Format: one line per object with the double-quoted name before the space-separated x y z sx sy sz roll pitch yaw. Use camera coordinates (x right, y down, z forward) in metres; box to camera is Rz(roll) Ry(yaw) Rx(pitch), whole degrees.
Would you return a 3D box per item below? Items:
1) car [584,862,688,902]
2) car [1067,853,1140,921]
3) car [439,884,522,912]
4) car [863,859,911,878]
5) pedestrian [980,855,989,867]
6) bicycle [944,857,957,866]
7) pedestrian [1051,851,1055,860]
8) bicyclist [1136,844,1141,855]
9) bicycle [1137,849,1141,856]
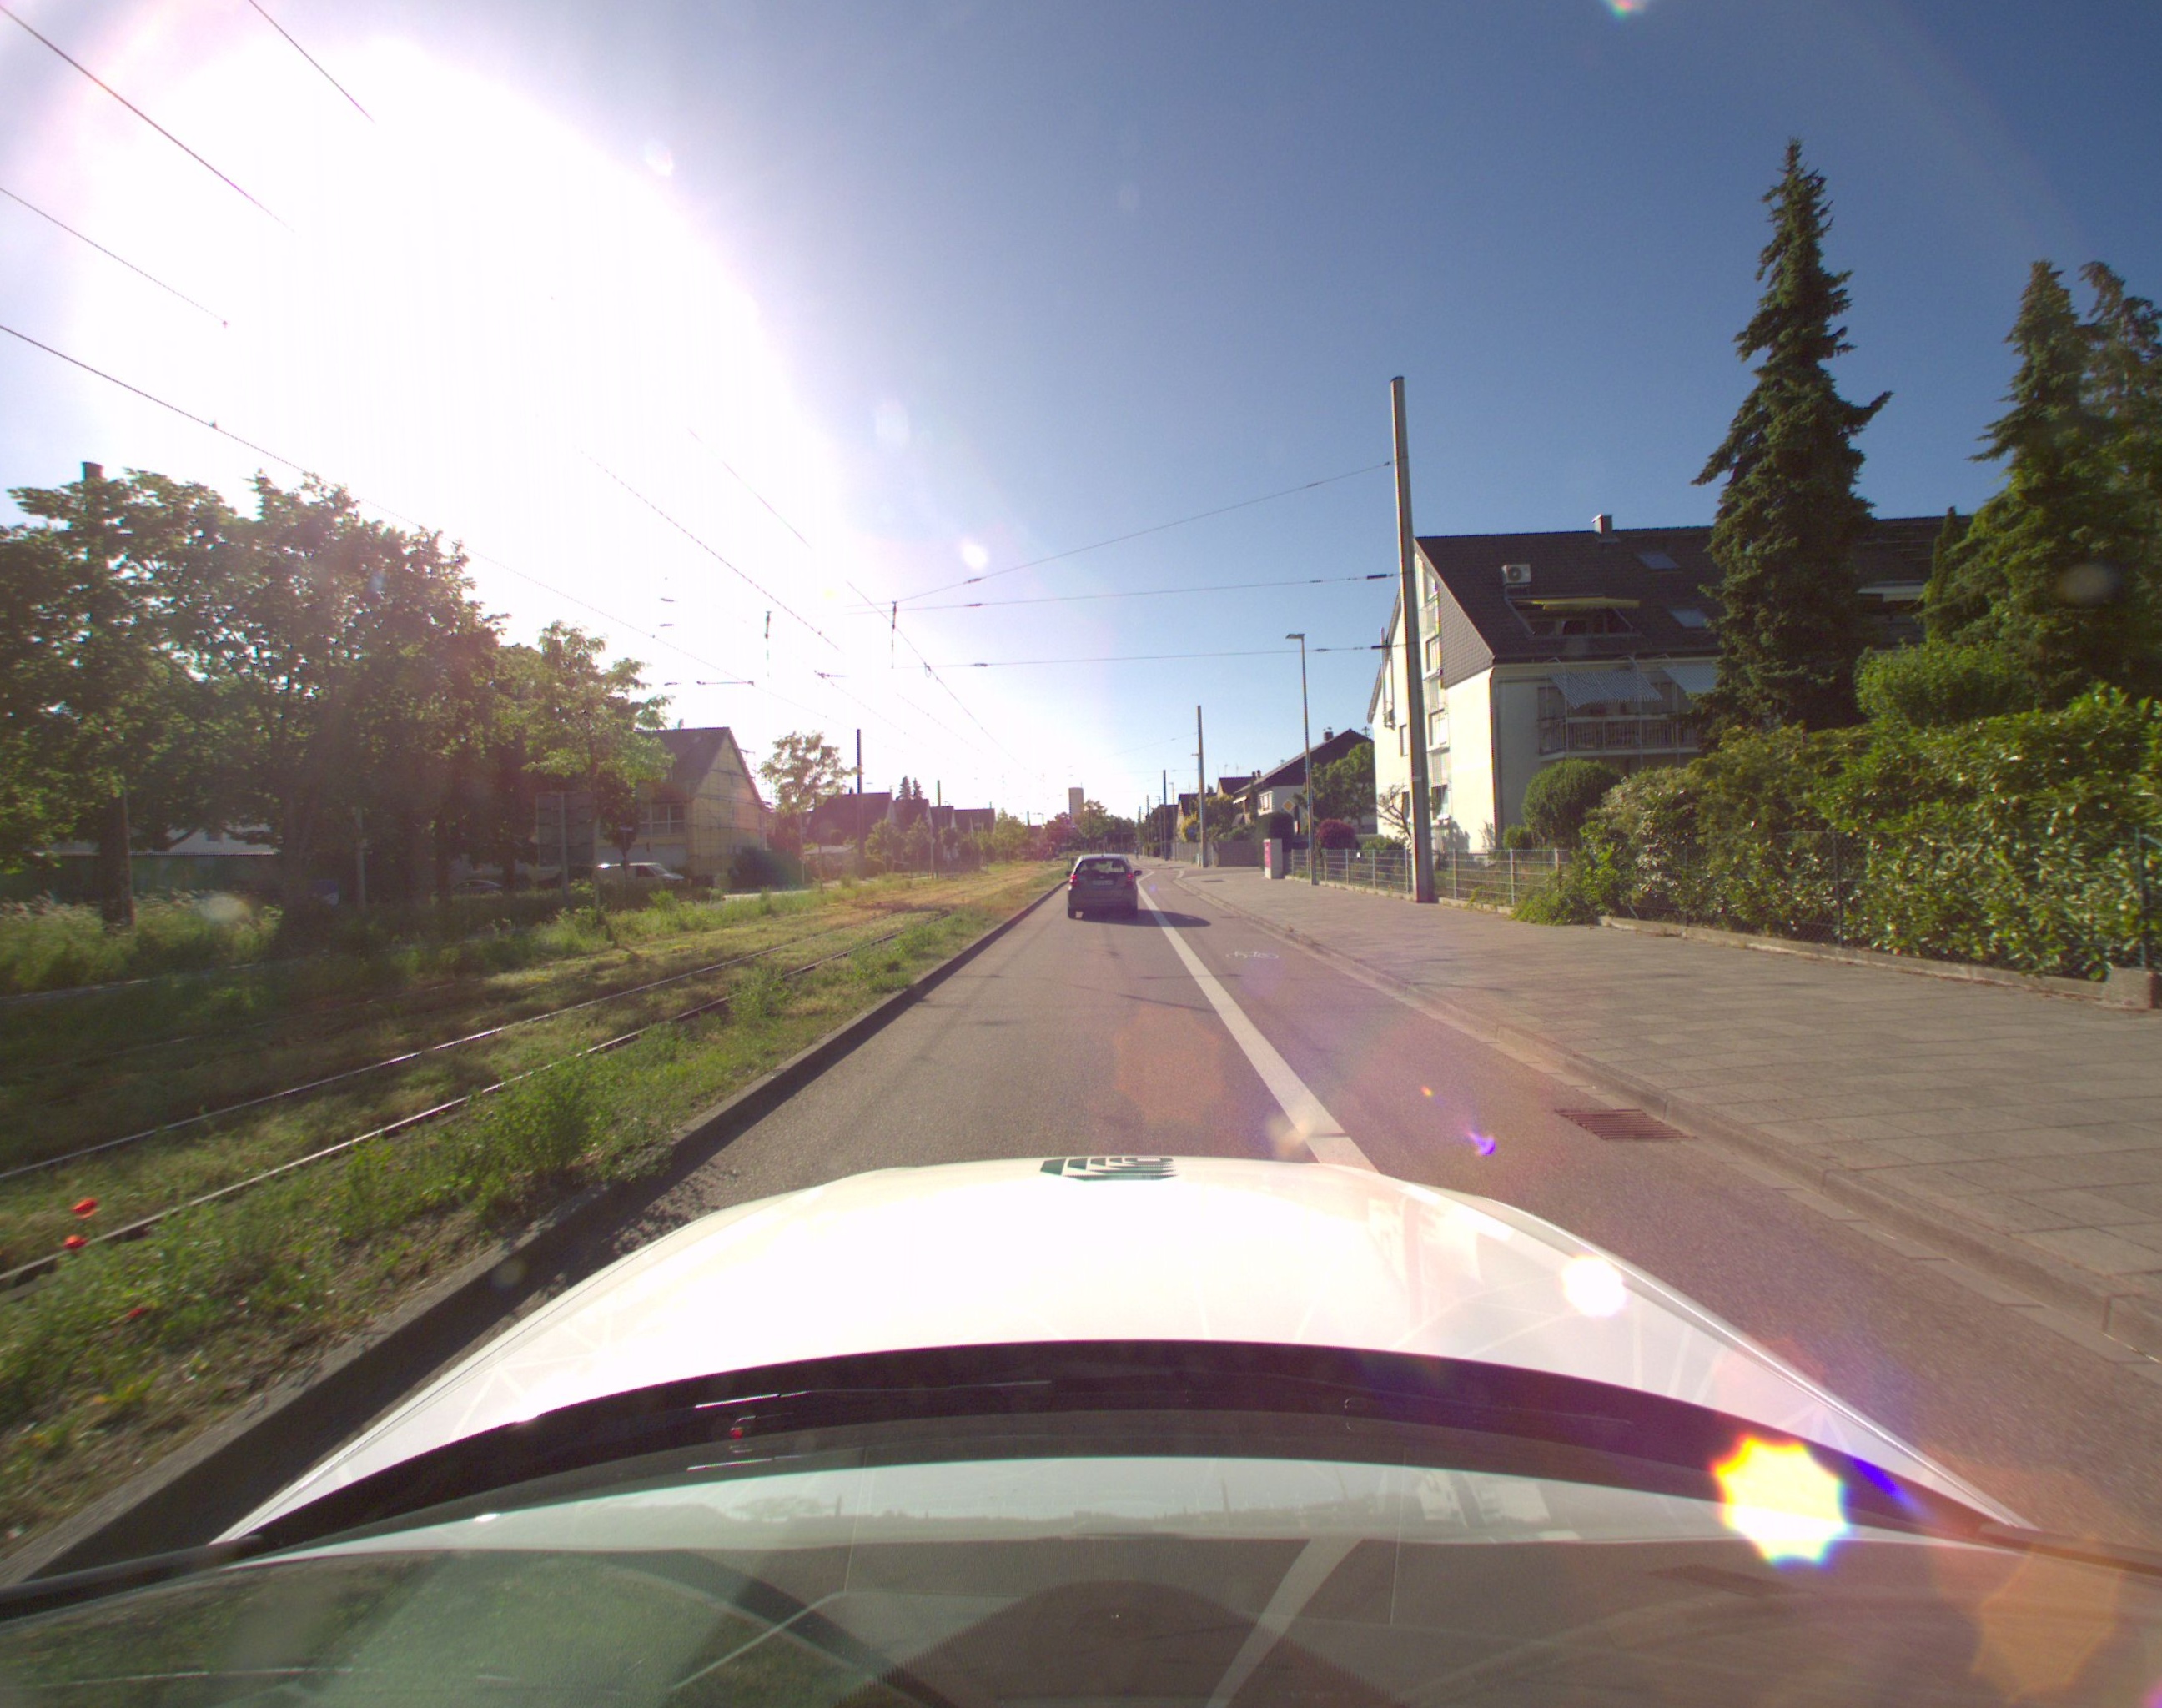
"car" -24.757 1.544 45.404 4.666 1.914 1.906 -3 0 3
"car" 0.538 0.754 20.412 1.665 1.535 3.487 -1 0 1
"car" -35.742 2.609 48.505 3.717 1.346 1.560 -3 0 0
"car" -19.991 1.484 83.953 4.540 1.734 2.046 -3 0 -10
"pedestrian" -13.478 0.936 114.115 0.961 1.640 1.086 -3 0 2
"bicycle" -20.827 1.145 129.888 1.985 1.365 0.704 -3 0 -5
"pedestrian" -4.848 0.283 141.692 0.673 1.535 0.748 -3 0 -2
"bicyclist" 8.571 -0.683 121.613 0.596 1.701 0.684 -1 0 2
"bicycle" 8.664 -0.185 121.810 0.473 0.961 1.658 -1 0 3
